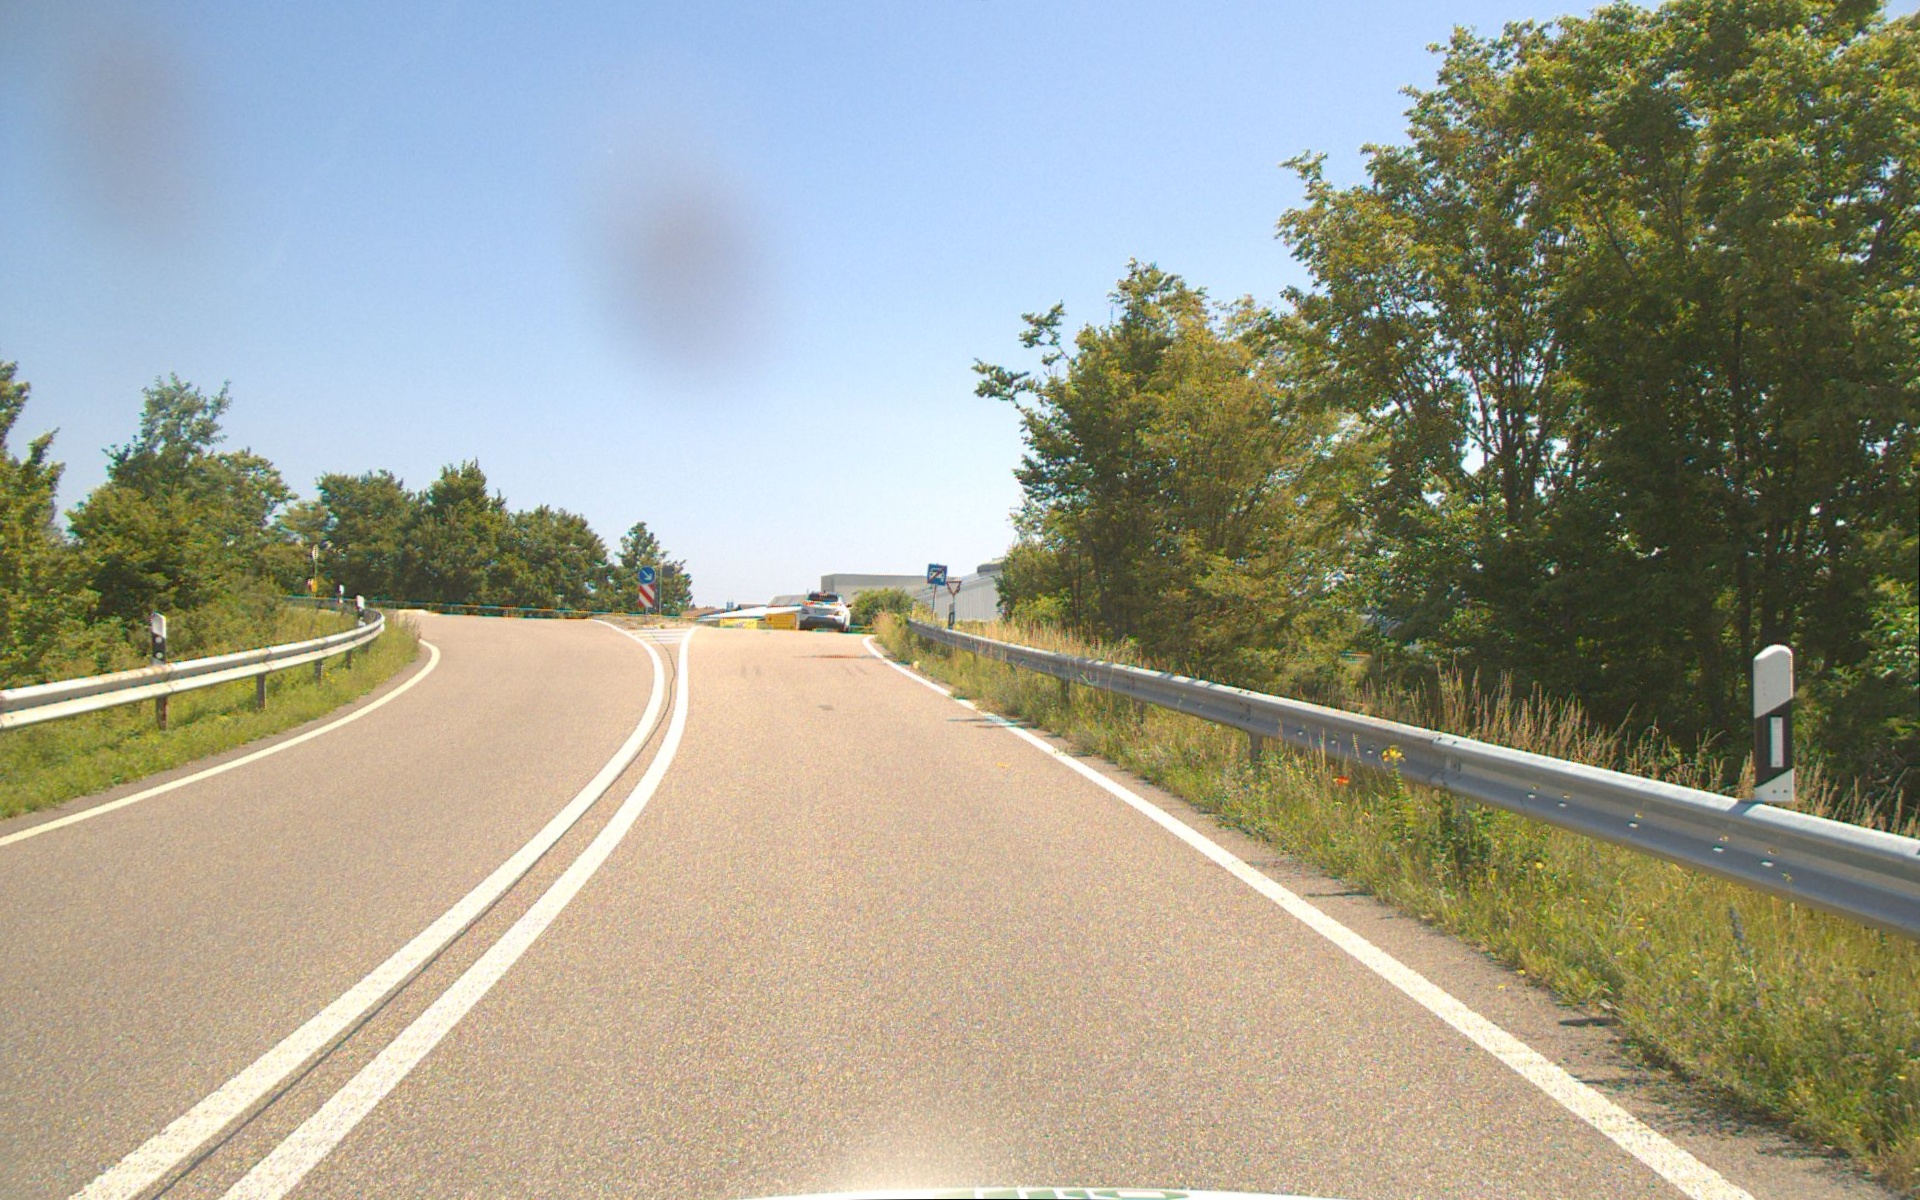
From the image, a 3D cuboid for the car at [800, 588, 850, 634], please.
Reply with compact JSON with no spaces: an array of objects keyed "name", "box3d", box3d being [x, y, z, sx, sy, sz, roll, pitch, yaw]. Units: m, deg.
[{"name":"car","box3d":[-5.350,0.465,65.827,1.772,1.720,3.998,2,-1,-2]}]
